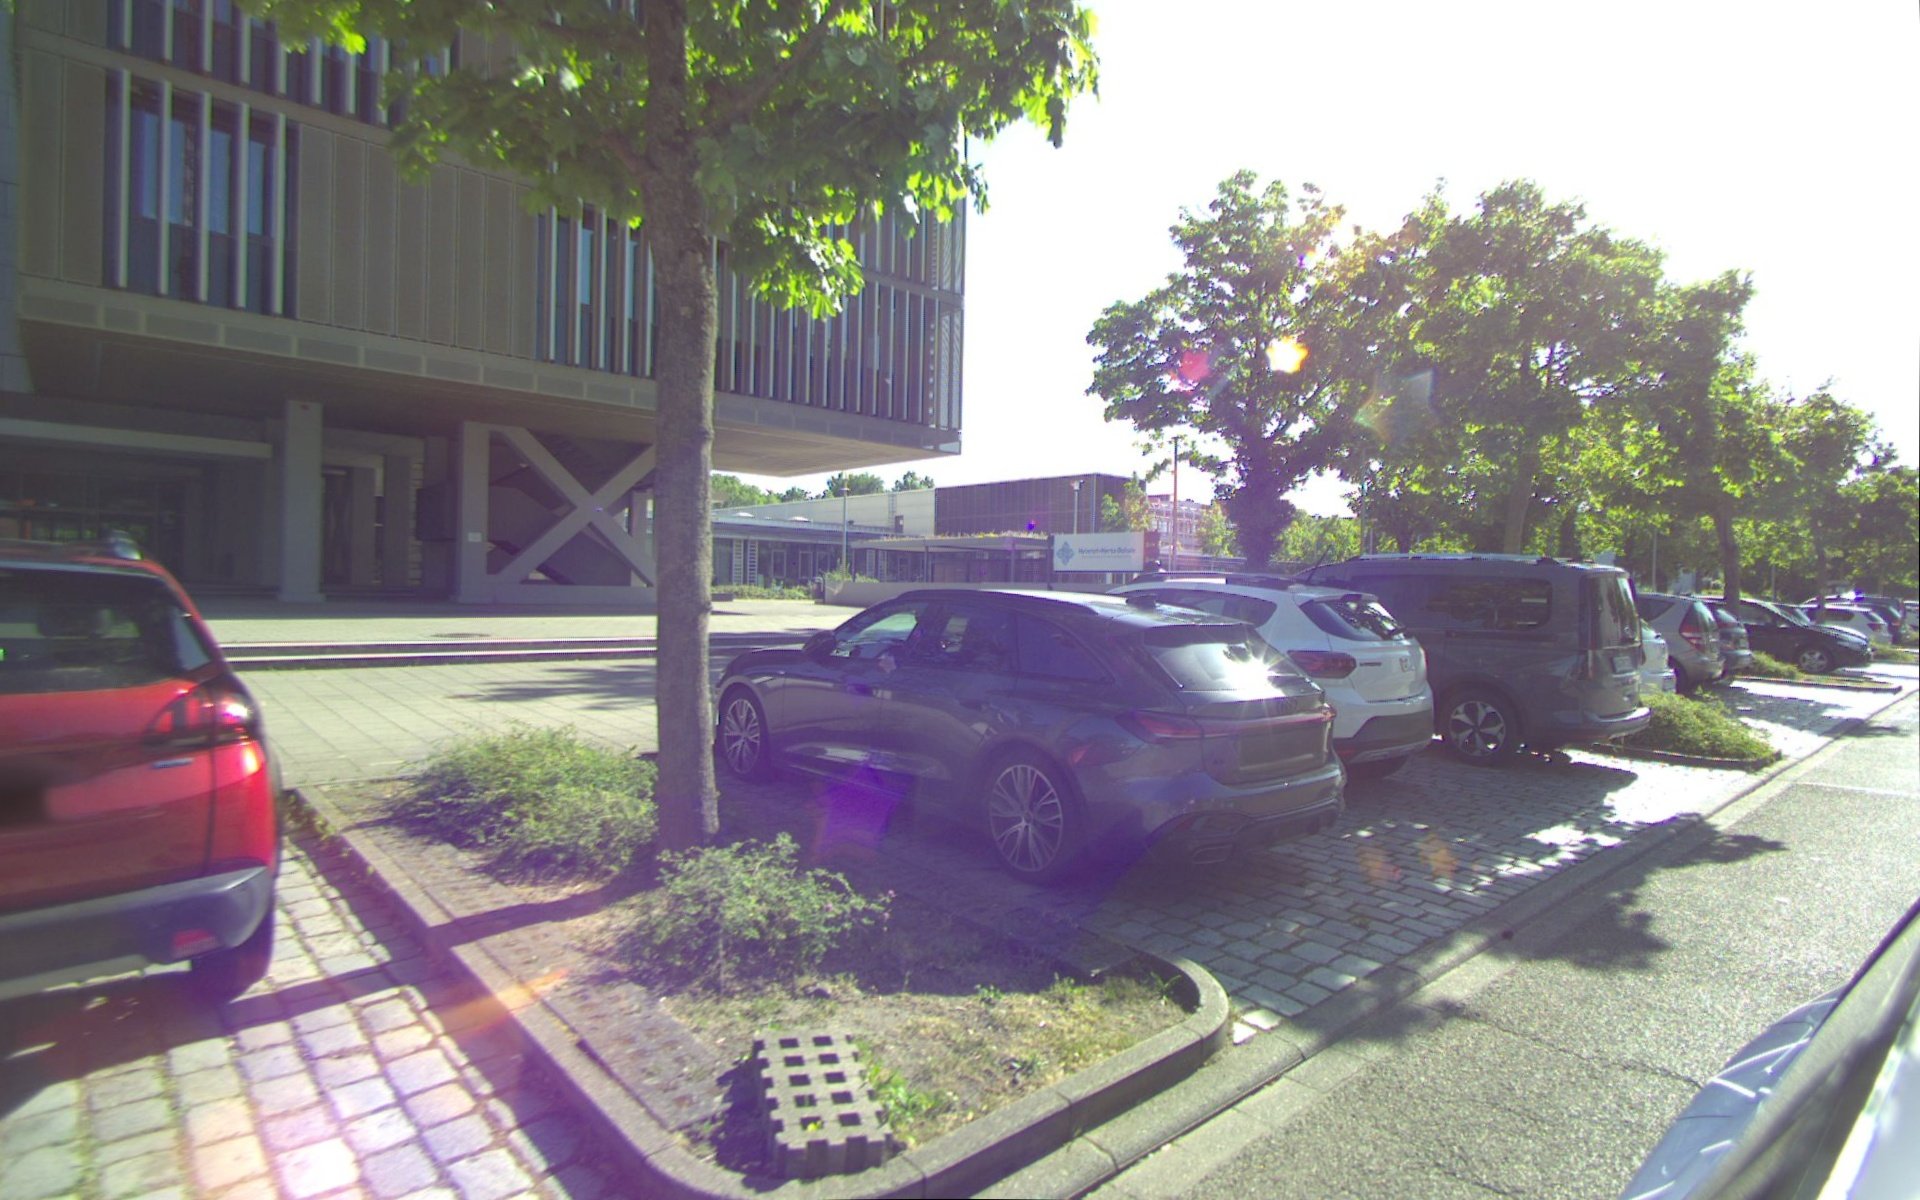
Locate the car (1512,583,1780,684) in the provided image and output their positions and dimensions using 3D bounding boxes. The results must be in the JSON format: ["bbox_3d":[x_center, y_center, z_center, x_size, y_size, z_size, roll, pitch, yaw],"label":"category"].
[{"bbox_3d":[12.426,0.524,18.504,1.704,1.532,3.716,0,2,-40],"label":"car"}]

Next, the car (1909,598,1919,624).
[{"bbox_3d":[55.789,0.678,56.650,1.647,1.443,3.714,0,2,-42],"label":"car"}]

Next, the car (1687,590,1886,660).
[{"bbox_3d":[21.150,0.572,25.994,1.647,1.532,3.714,0,2,-42],"label":"car"}]

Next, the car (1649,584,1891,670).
[{"bbox_3d":[17.741,0.517,22.294,1.648,1.620,3.956,0,2,-43],"label":"car"}]

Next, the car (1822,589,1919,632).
[{"bbox_3d":[36.595,0.420,39.916,1.647,1.544,3.714,0,2,-42],"label":"car"}]

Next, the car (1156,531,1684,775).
[{"bbox_3d":[4.407,0.328,10.274,2.038,1.915,4.410,0,2,-41],"label":"car"}]

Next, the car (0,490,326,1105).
[{"bbox_3d":[-4.024,0.413,4.060,1.844,1.555,4.410,0,2,-41],"label":"car"}]

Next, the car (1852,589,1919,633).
[{"bbox_3d":[38.896,0.454,41.185,1.647,1.692,3.714,0,2,-42],"label":"car"}]

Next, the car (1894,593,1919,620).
[{"bbox_3d":[53.664,0.407,55.291,1.647,1.443,3.714,0,2,-42],"label":"car"}]

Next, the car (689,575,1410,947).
[{"bbox_3d":[0.218,0.615,6.474,2.038,1.427,4.410,0,2,-41],"label":"car"}]

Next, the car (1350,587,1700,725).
[{"bbox_3d":[7.240,0.606,13.220,1.647,1.439,3.648,0,2,-42],"label":"car"}]

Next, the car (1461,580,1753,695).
[{"bbox_3d":[10.552,0.517,16.718,1.646,1.588,3.717,0,2,-39],"label":"car"}]

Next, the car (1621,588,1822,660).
[{"bbox_3d":[18.792,0.537,25.090,1.647,1.532,3.714,0,2,-42],"label":"car"}]

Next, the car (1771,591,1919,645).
[{"bbox_3d":[29.556,0.551,33.728,1.647,1.586,3.714,0,2,-42],"label":"car"}]

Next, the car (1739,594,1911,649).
[{"bbox_3d":[26.115,0.597,30.631,1.702,1.443,3.758,0,2,-42],"label":"car"}]

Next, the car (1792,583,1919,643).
[{"bbox_3d":[31.501,0.407,35.470,1.667,1.911,3.388,0,2,-42],"label":"car"}]

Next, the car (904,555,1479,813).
[{"bbox_3d":[1.688,0.447,8.621,2.038,1.576,4.410,0,2,-41],"label":"car"}]
